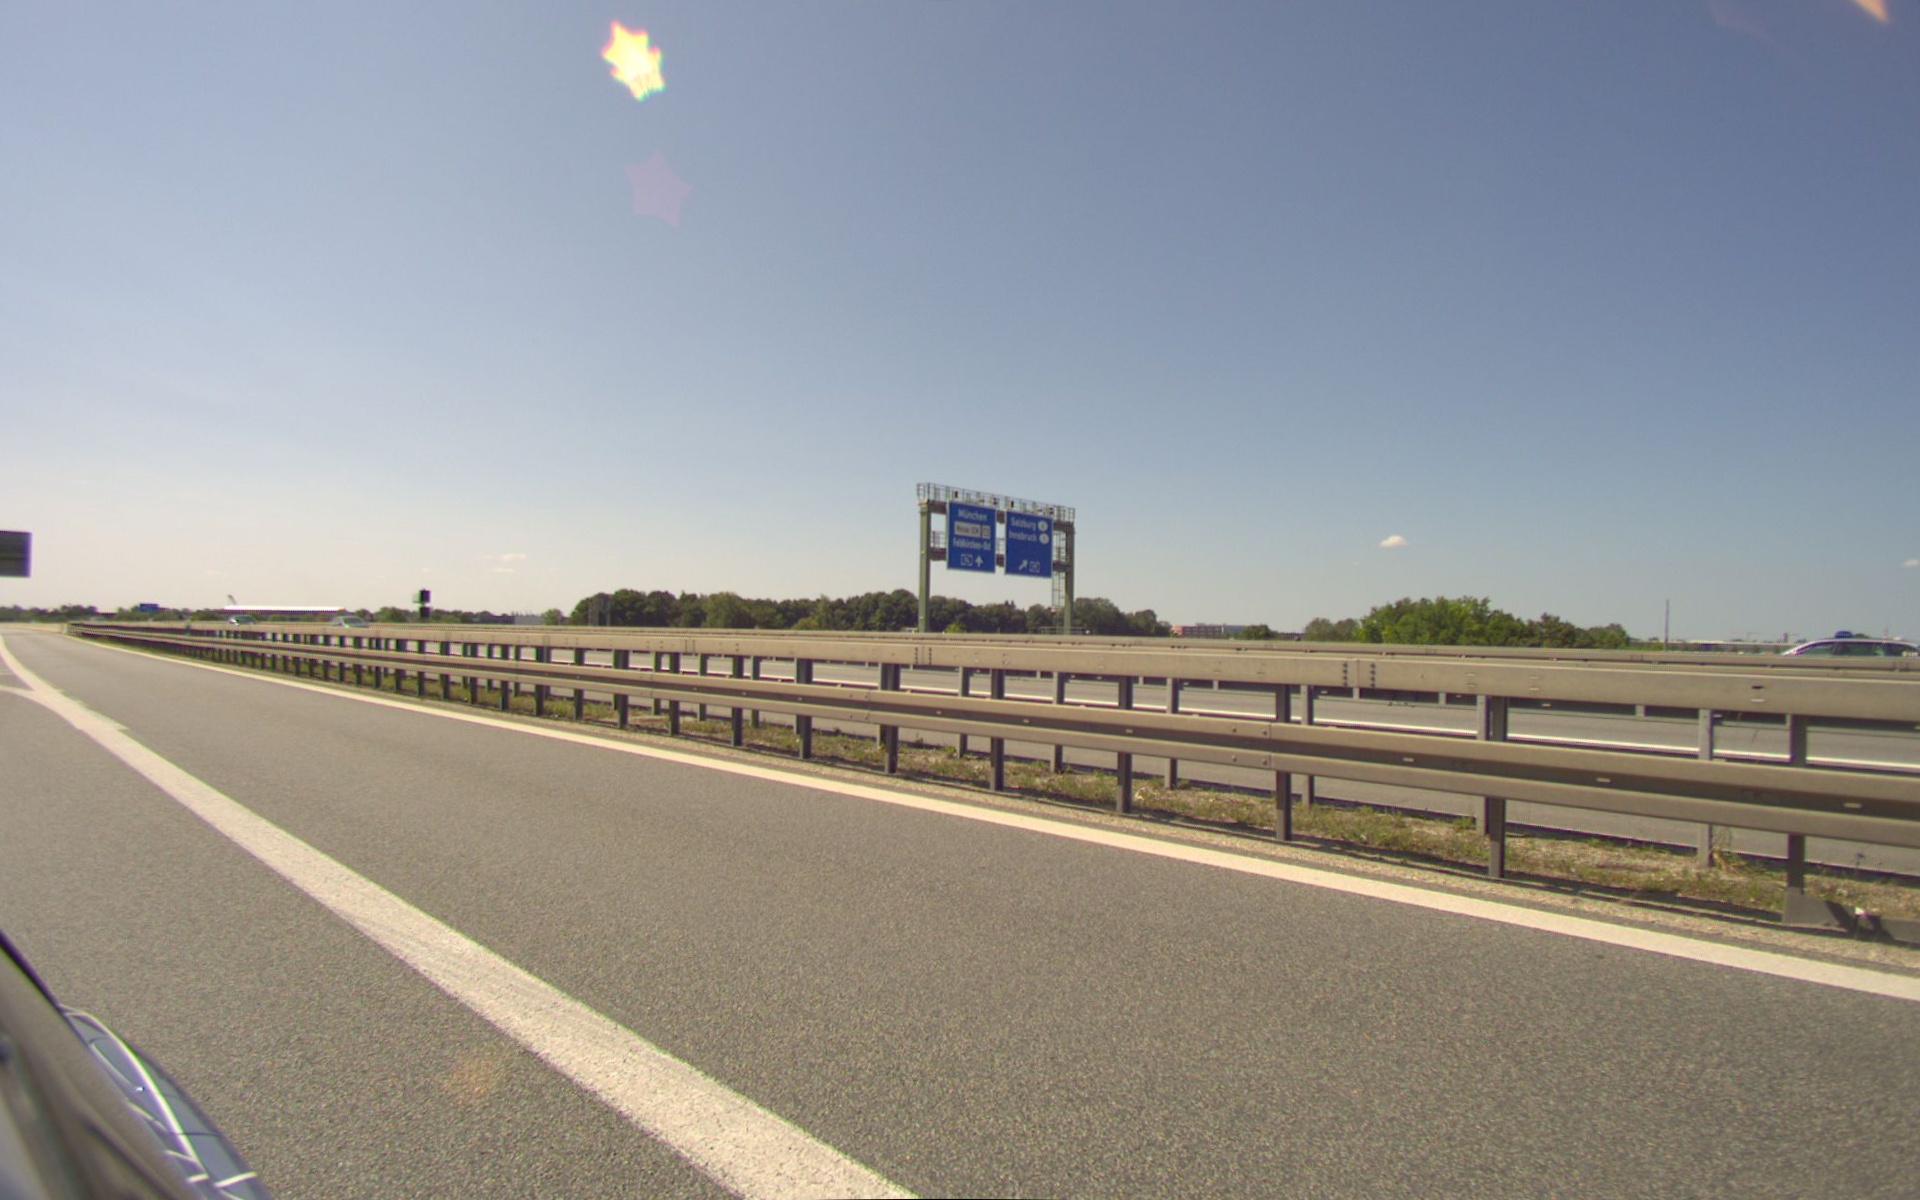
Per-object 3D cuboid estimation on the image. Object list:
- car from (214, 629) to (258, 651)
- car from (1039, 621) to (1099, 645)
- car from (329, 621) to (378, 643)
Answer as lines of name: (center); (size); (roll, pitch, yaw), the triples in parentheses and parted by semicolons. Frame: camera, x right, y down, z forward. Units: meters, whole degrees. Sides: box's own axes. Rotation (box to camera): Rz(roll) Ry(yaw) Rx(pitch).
car: (-52.208, 2.854, 72.950); (4.217, 1.443, 1.809); (-1, -1, 43)
car: (7.025, 2.110, 65.662); (3.618, 1.367, 1.605); (2, 0, 44)
car: (-40.819, 2.124, 68.061); (4.217, 1.433, 1.743); (0, -1, 43)
